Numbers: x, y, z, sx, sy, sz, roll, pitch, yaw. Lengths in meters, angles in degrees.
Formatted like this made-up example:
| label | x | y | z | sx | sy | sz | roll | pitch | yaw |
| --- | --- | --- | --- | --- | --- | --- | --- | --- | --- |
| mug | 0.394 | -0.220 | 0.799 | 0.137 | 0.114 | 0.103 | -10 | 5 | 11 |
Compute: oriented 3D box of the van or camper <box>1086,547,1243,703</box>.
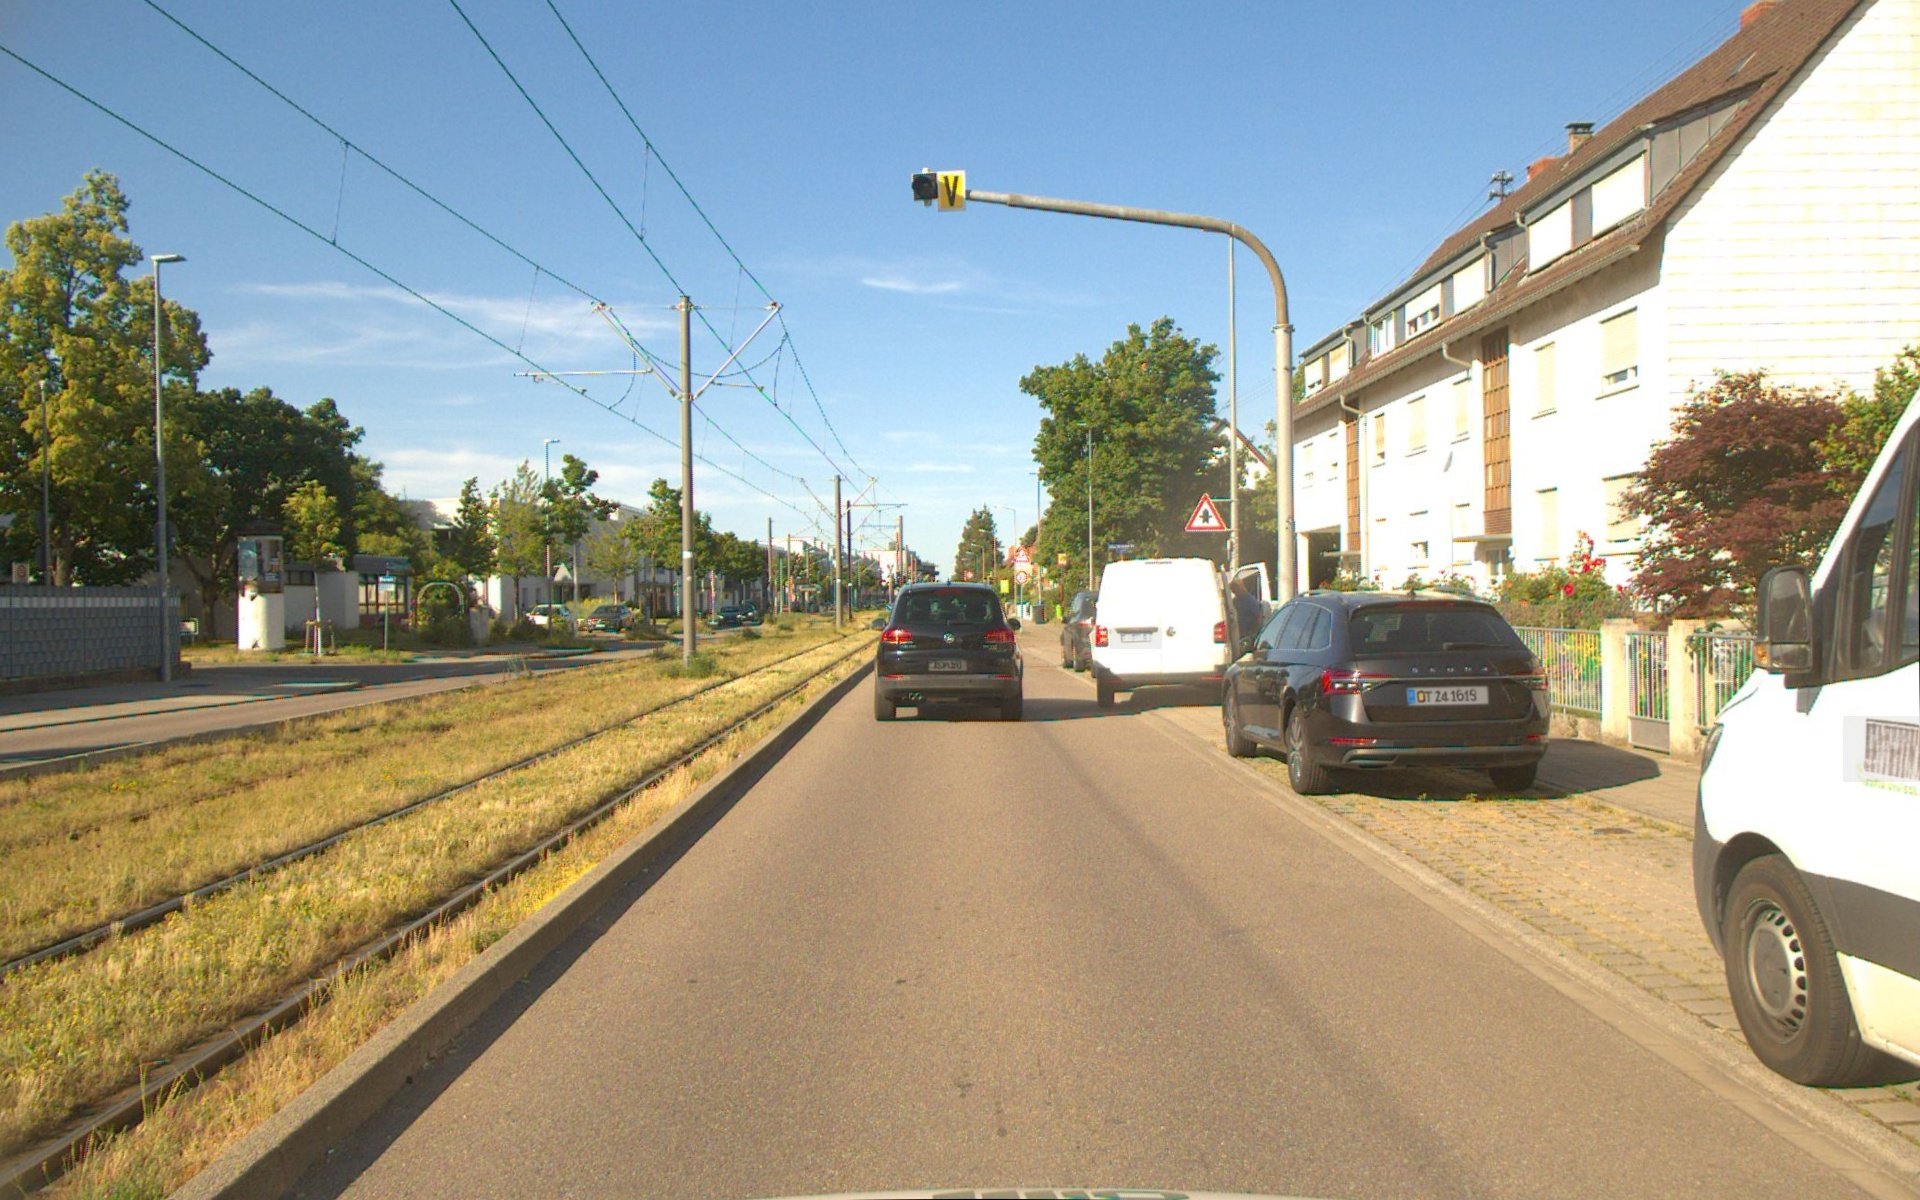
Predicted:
| label | x | y | z | sx | sy | sz | roll | pitch | yaw |
| --- | --- | --- | --- | --- | --- | --- | --- | --- | --- |
| van or camper | 2.980 | 0.314 | 24.165 | 1.985 | 1.990 | 5.299 | -1 | 0 | 7 |

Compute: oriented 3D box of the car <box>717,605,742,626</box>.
| label | x | y | z | sx | sy | sz | roll | pitch | yaw |
| --- | --- | --- | --- | --- | --- | --- | --- | --- | --- |
| car | -16.826 | 1.159 | 120.952 | 1.656 | 1.413 | 4.380 | -3 | 0 | -7 |

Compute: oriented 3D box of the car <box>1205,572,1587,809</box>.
| label | x | y | z | sx | sy | sz | roll | pitch | yaw |
| --- | --- | --- | --- | --- | --- | --- | --- | --- | --- |
| car | 3.322 | 0.621 | 13.722 | 1.713 | 1.520 | 5.154 | -2 | 0 | -1 |

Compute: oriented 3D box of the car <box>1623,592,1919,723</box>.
| label | x | y | z | sx | sy | sz | roll | pitch | yaw |
| --- | --- | --- | --- | --- | --- | --- | --- | --- | --- |
| car | 11.027 | 0.678 | 20.777 | 4.617 | 1.503 | 1.906 | -1 | -1 | -3 |

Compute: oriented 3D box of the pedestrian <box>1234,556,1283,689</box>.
| label | x | y | z | sx | sy | sz | roll | pitch | yaw |
| --- | --- | --- | --- | --- | --- | --- | --- | --- | --- |
| pedestrian | 4.447 | 0.324 | 24.670 | 0.684 | 1.946 | 0.759 | 1 | -1 | 8 |

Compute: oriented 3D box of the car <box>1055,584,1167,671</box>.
| label | x | y | z | sx | sy | sz | roll | pitch | yaw |
| --- | --- | --- | --- | --- | --- | --- | --- | --- | --- |
| car | 3.145 | 0.543 | 35.441 | 1.755 | 1.657 | 4.859 | -3 | 0 | -2 |

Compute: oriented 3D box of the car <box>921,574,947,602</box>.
| label | x | y | z | sx | sy | sz | roll | pitch | yaw |
| --- | --- | --- | --- | --- | --- | --- | --- | --- | --- |
| car | -2.458 | -1.154 | 158.524 | 2.345 | 2.609 | 5.529 | -1 | 0 | 0 |

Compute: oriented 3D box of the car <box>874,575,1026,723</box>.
| label | x | y | z | sx | sy | sz | roll | pitch | yaw |
| --- | --- | --- | --- | --- | --- | --- | --- | --- | --- |
| car | -0.202 | 0.576 | 21.186 | 1.740 | 1.699 | 3.998 | -1 | 0 | -3 |

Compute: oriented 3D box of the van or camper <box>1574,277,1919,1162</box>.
| label | x | y | z | sx | sy | sz | roll | pitch | yaw |
| --- | --- | --- | --- | --- | --- | --- | --- | --- | --- |
| van or camper | 3.476 | 0.284 | 3.401 | 1.953 | 2.310 | 6.303 | -2 | 0 | -1 |

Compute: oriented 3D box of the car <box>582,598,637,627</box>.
| label | x | y | z | sx | sy | sz | roll | pitch | yaw |
| --- | --- | --- | --- | --- | --- | --- | --- | --- | --- |
| car | -18.827 | 0.681 | 89.074 | 1.772 | 1.486 | 4.319 | 1 | 0 | 4 |

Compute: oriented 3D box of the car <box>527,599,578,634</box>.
| label | x | y | z | sx | sy | sz | roll | pitch | yaw |
| --- | --- | --- | --- | --- | --- | --- | --- | --- | --- |
| car | -18.630 | 0.743 | 75.749 | 1.513 | 1.517 | 3.774 | 1 | 0 | -2 |

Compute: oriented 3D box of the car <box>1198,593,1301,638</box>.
| label | x | y | z | sx | sy | sz | roll | pitch | yaw |
| --- | --- | --- | --- | --- | --- | --- | --- | --- | --- |
| car | 10.714 | 0.579 | 61.413 | 3.520 | 1.557 | 1.647 | -1 | -1 | 1 |
